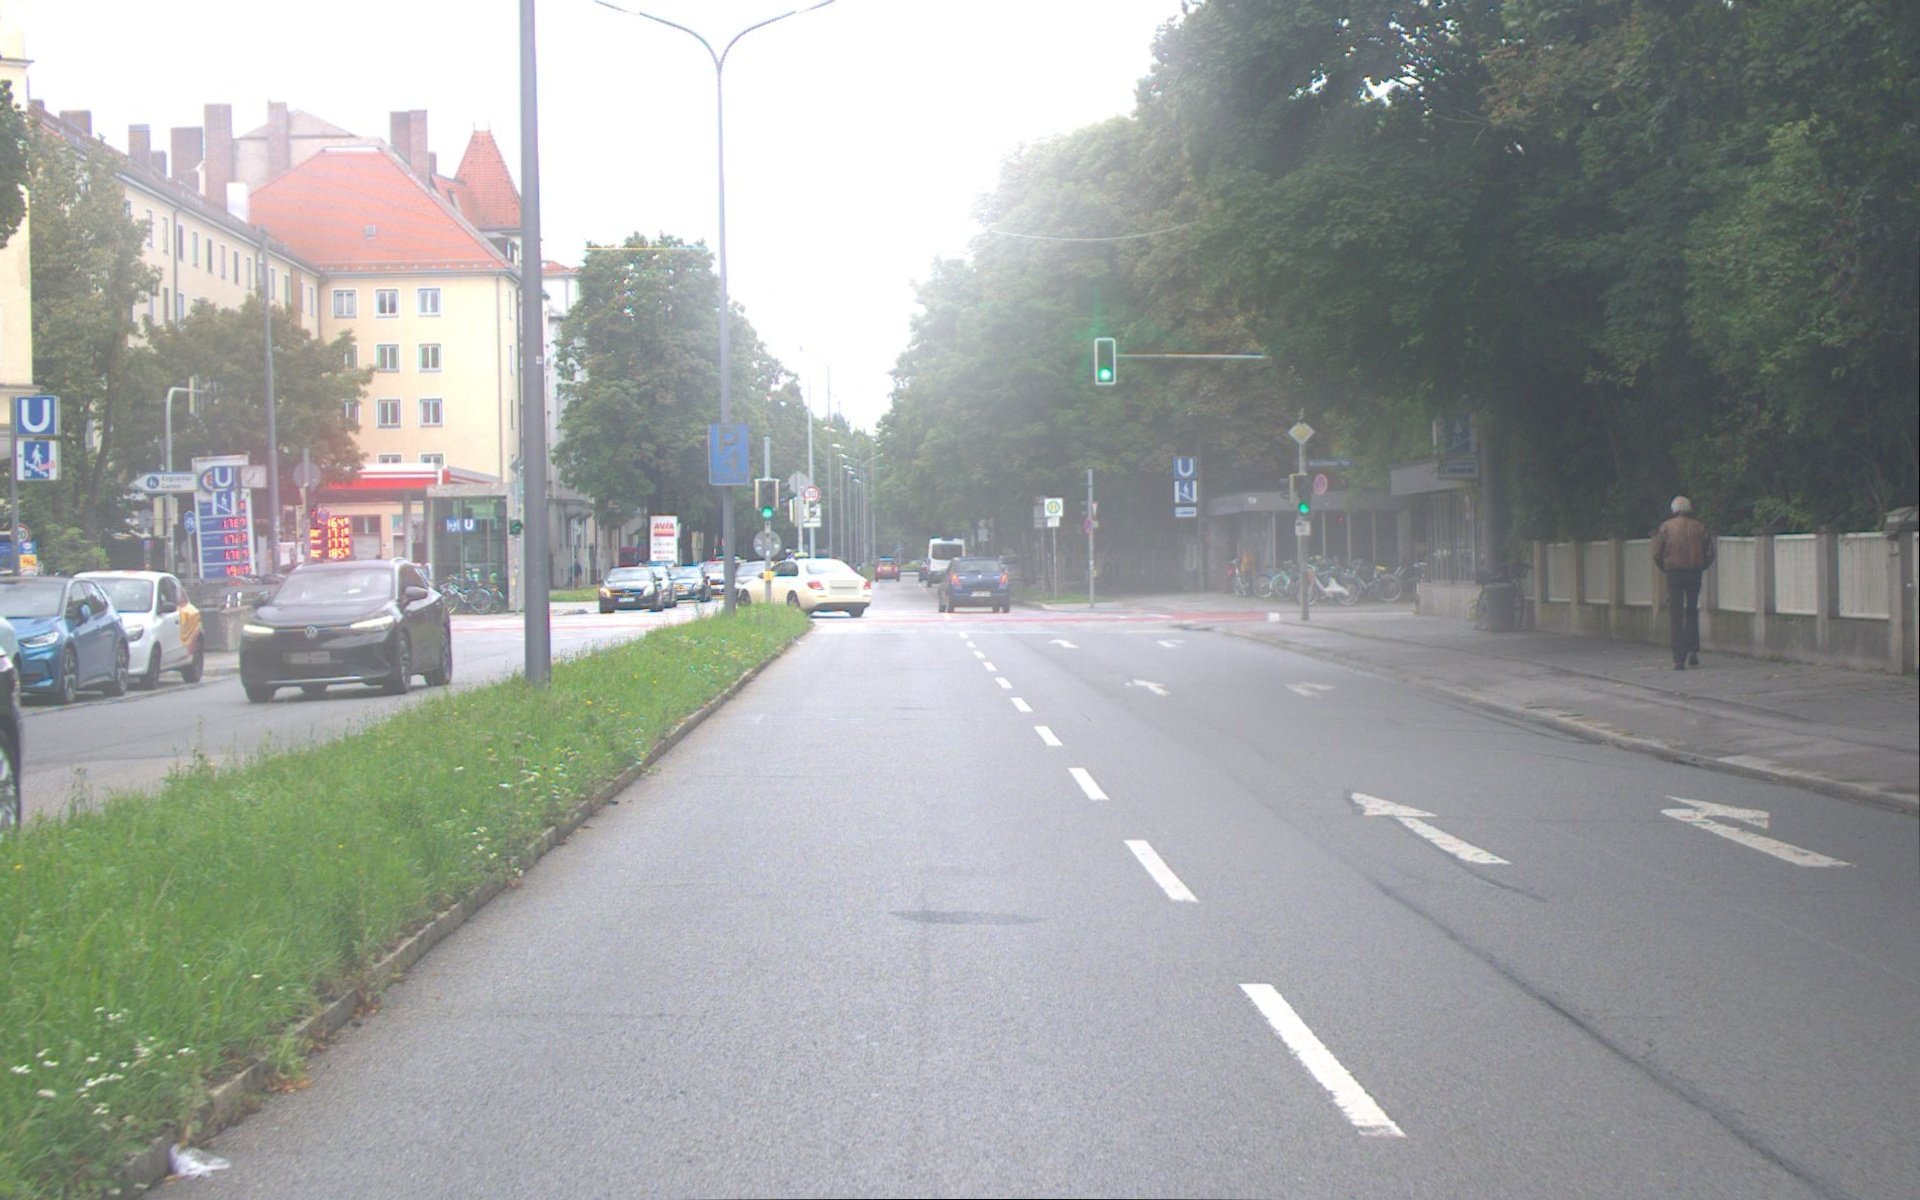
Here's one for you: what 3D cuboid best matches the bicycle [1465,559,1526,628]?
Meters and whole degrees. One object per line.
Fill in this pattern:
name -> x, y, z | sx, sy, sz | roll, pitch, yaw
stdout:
bicycle -> 8.670, -0.117, 55.679 | 0.622, 1.087, 2.026 | -1, 1, -1

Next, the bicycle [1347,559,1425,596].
bicycle -> 11.973, -0.622, 96.619 | 2.143, 1.011, 0.634 | -1, 1, 8

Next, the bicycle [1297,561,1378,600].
bicycle -> 10.140, -0.526, 92.369 | 2.143, 1.011, 0.634 | -1, 1, 8

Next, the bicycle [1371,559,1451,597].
bicycle -> 12.261, -0.596, 93.482 | 2.143, 1.011, 0.634 | -1, 1, 8

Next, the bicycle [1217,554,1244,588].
bicycle -> 8.152, -0.871, 103.547 | 0.556, 1.011, 2.016 | -1, 1, -3

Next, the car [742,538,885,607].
car -> -3.680, -0.695, 85.416 | 1.779, 1.641, 4.782 | -1, 1, -26

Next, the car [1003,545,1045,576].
car -> 2.854, -1.790, 154.344 | 1.743, 1.358, 3.807 | -1, 1, -1

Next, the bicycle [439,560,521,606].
bicycle -> -14.037, -0.492, 100.505 | 2.285, 1.300, 0.694 | -1, 1, 0

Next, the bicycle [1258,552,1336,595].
bicycle -> 9.414, -0.735, 96.005 | 2.143, 1.174, 0.603 | -1, 1, 8

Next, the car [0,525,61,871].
car -> -5.534, 0.524, 15.567 | 1.769, 1.673, 4.369 | -2, 1, -1

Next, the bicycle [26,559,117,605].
bicycle -> -24.789, -0.499, 95.949 | 2.393, 1.247, 0.792 | 1, 0, -11

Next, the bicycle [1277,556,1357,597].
bicycle -> 9.754, -0.635, 93.826 | 2.143, 1.097, 0.603 | -1, 1, 8

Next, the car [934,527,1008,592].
car -> 0.269, -1.093, 92.097 | 1.857, 1.678, 4.000 | -1, 1, -1

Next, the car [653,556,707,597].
car -> -10.387, -0.888, 127.630 | 1.759, 1.455, 4.000 | -1, 1, -1

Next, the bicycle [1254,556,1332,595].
bicycle -> 9.372, -0.682, 96.707 | 2.143, 1.058, 0.603 | -1, 1, 8

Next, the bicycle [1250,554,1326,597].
bicycle -> 9.374, -0.706, 98.307 | 2.143, 1.214, 0.603 | -1, 1, 8

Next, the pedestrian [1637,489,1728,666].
pedestrian -> 8.103, -0.256, 38.576 | 0.777, 1.935, 0.802 | -2, 1, -1

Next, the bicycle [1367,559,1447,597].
bicycle -> 12.253, -0.600, 94.249 | 2.143, 1.011, 0.634 | -1, 1, 8

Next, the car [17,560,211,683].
car -> -11.490, 0.261, 46.899 | 1.649, 1.579, 3.790 | -1, 1, 1

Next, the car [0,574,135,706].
car -> -11.543, 0.458, 42.289 | 1.810, 1.502, 4.291 | -1, 1, -1

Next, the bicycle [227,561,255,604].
bicycle -> -20.946, -0.509, 100.167 | 0.608, 1.231, 2.188 | -1, 1, -7

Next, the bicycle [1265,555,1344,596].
bicycle -> 9.559, -0.680, 95.268 | 2.143, 1.082, 0.603 | -1, 1, 8

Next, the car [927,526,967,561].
car -> -0.679, -2.933, 179.054 | 1.993, 1.750, 4.000 | -1, 1, -1

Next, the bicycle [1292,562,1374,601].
bicycle -> 9.951, -0.504, 91.744 | 2.143, 1.011, 0.603 | -1, 1, 8

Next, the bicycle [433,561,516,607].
bicycle -> -14.049, -0.467, 99.553 | 2.271, 1.300, 0.704 | -1, 1, 0

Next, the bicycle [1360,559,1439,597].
bicycle -> 12.158, -0.609, 95.043 | 2.143, 1.011, 0.634 | -1, 1, 8

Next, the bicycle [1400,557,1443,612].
bicycle -> 9.495, -0.311, 70.830 | 0.599, 1.117, 1.890 | -1, 0, -1

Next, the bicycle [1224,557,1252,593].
bicycle -> 8.147, -0.741, 100.814 | 0.556, 1.011, 2.016 | -1, 1, -3

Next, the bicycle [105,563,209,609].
bicycle -> -22.509, -0.377, 96.408 | 2.703, 1.247, 0.793 | 1, 0, -31

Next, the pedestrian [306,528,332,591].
pedestrian -> -17.540, -1.108, 94.047 | 0.534, 1.689, 0.577 | -1, 1, 8

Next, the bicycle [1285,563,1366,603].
bicycle -> 9.905, -0.464, 93.174 | 2.143, 1.067, 0.603 | -1, 1, 8

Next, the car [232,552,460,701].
car -> -7.283, 0.267, 41.195 | 1.875, 1.579, 4.621 | -3, 1, -1

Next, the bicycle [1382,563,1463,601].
bicycle -> 12.470, -0.491, 92.667 | 2.143, 1.011, 0.634 | -1, 1, 8
